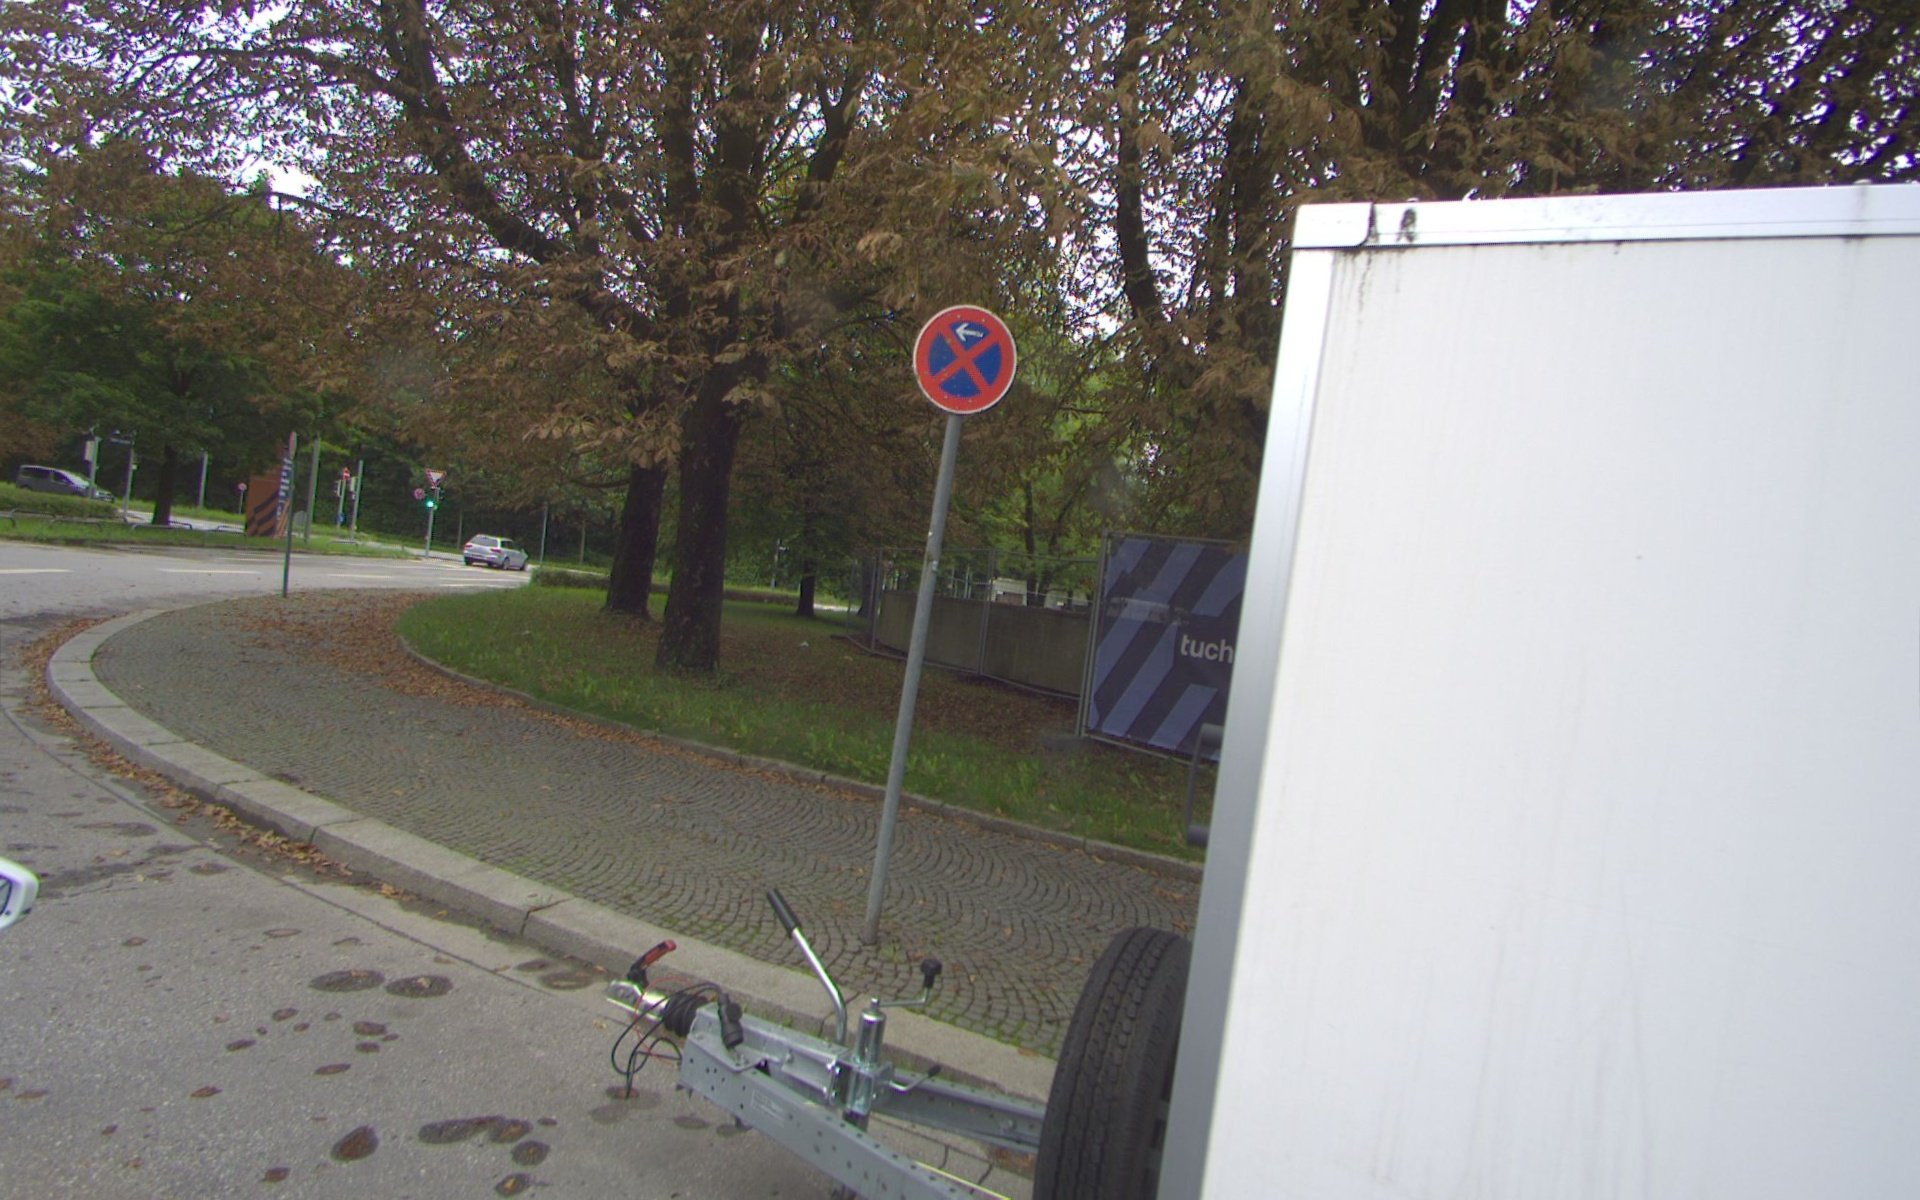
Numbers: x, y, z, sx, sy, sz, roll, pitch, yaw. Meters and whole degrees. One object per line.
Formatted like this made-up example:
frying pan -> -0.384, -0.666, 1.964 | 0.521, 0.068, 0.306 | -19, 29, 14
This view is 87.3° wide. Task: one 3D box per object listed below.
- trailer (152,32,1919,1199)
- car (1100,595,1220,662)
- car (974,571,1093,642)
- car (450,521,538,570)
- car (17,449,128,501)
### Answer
trailer -> 0.904, 0.552, 1.811 | 4.750, 2.038, 1.812 | 7, 0, 28
car -> 10.102, 1.404, 51.154 | 5.359, 2.613, 2.075 | 8, 1, -2
car -> 3.624, 0.315, 50.616 | 5.495, 2.768, 2.075 | 8, 1, -2
car -> -21.314, -2.445, 46.175 | 1.963, 1.771, 4.123 | 8, 0, -1
car -> -48.468, -6.798, 55.024 | 3.931, 2.038, 1.997 | 8, 0, -7
